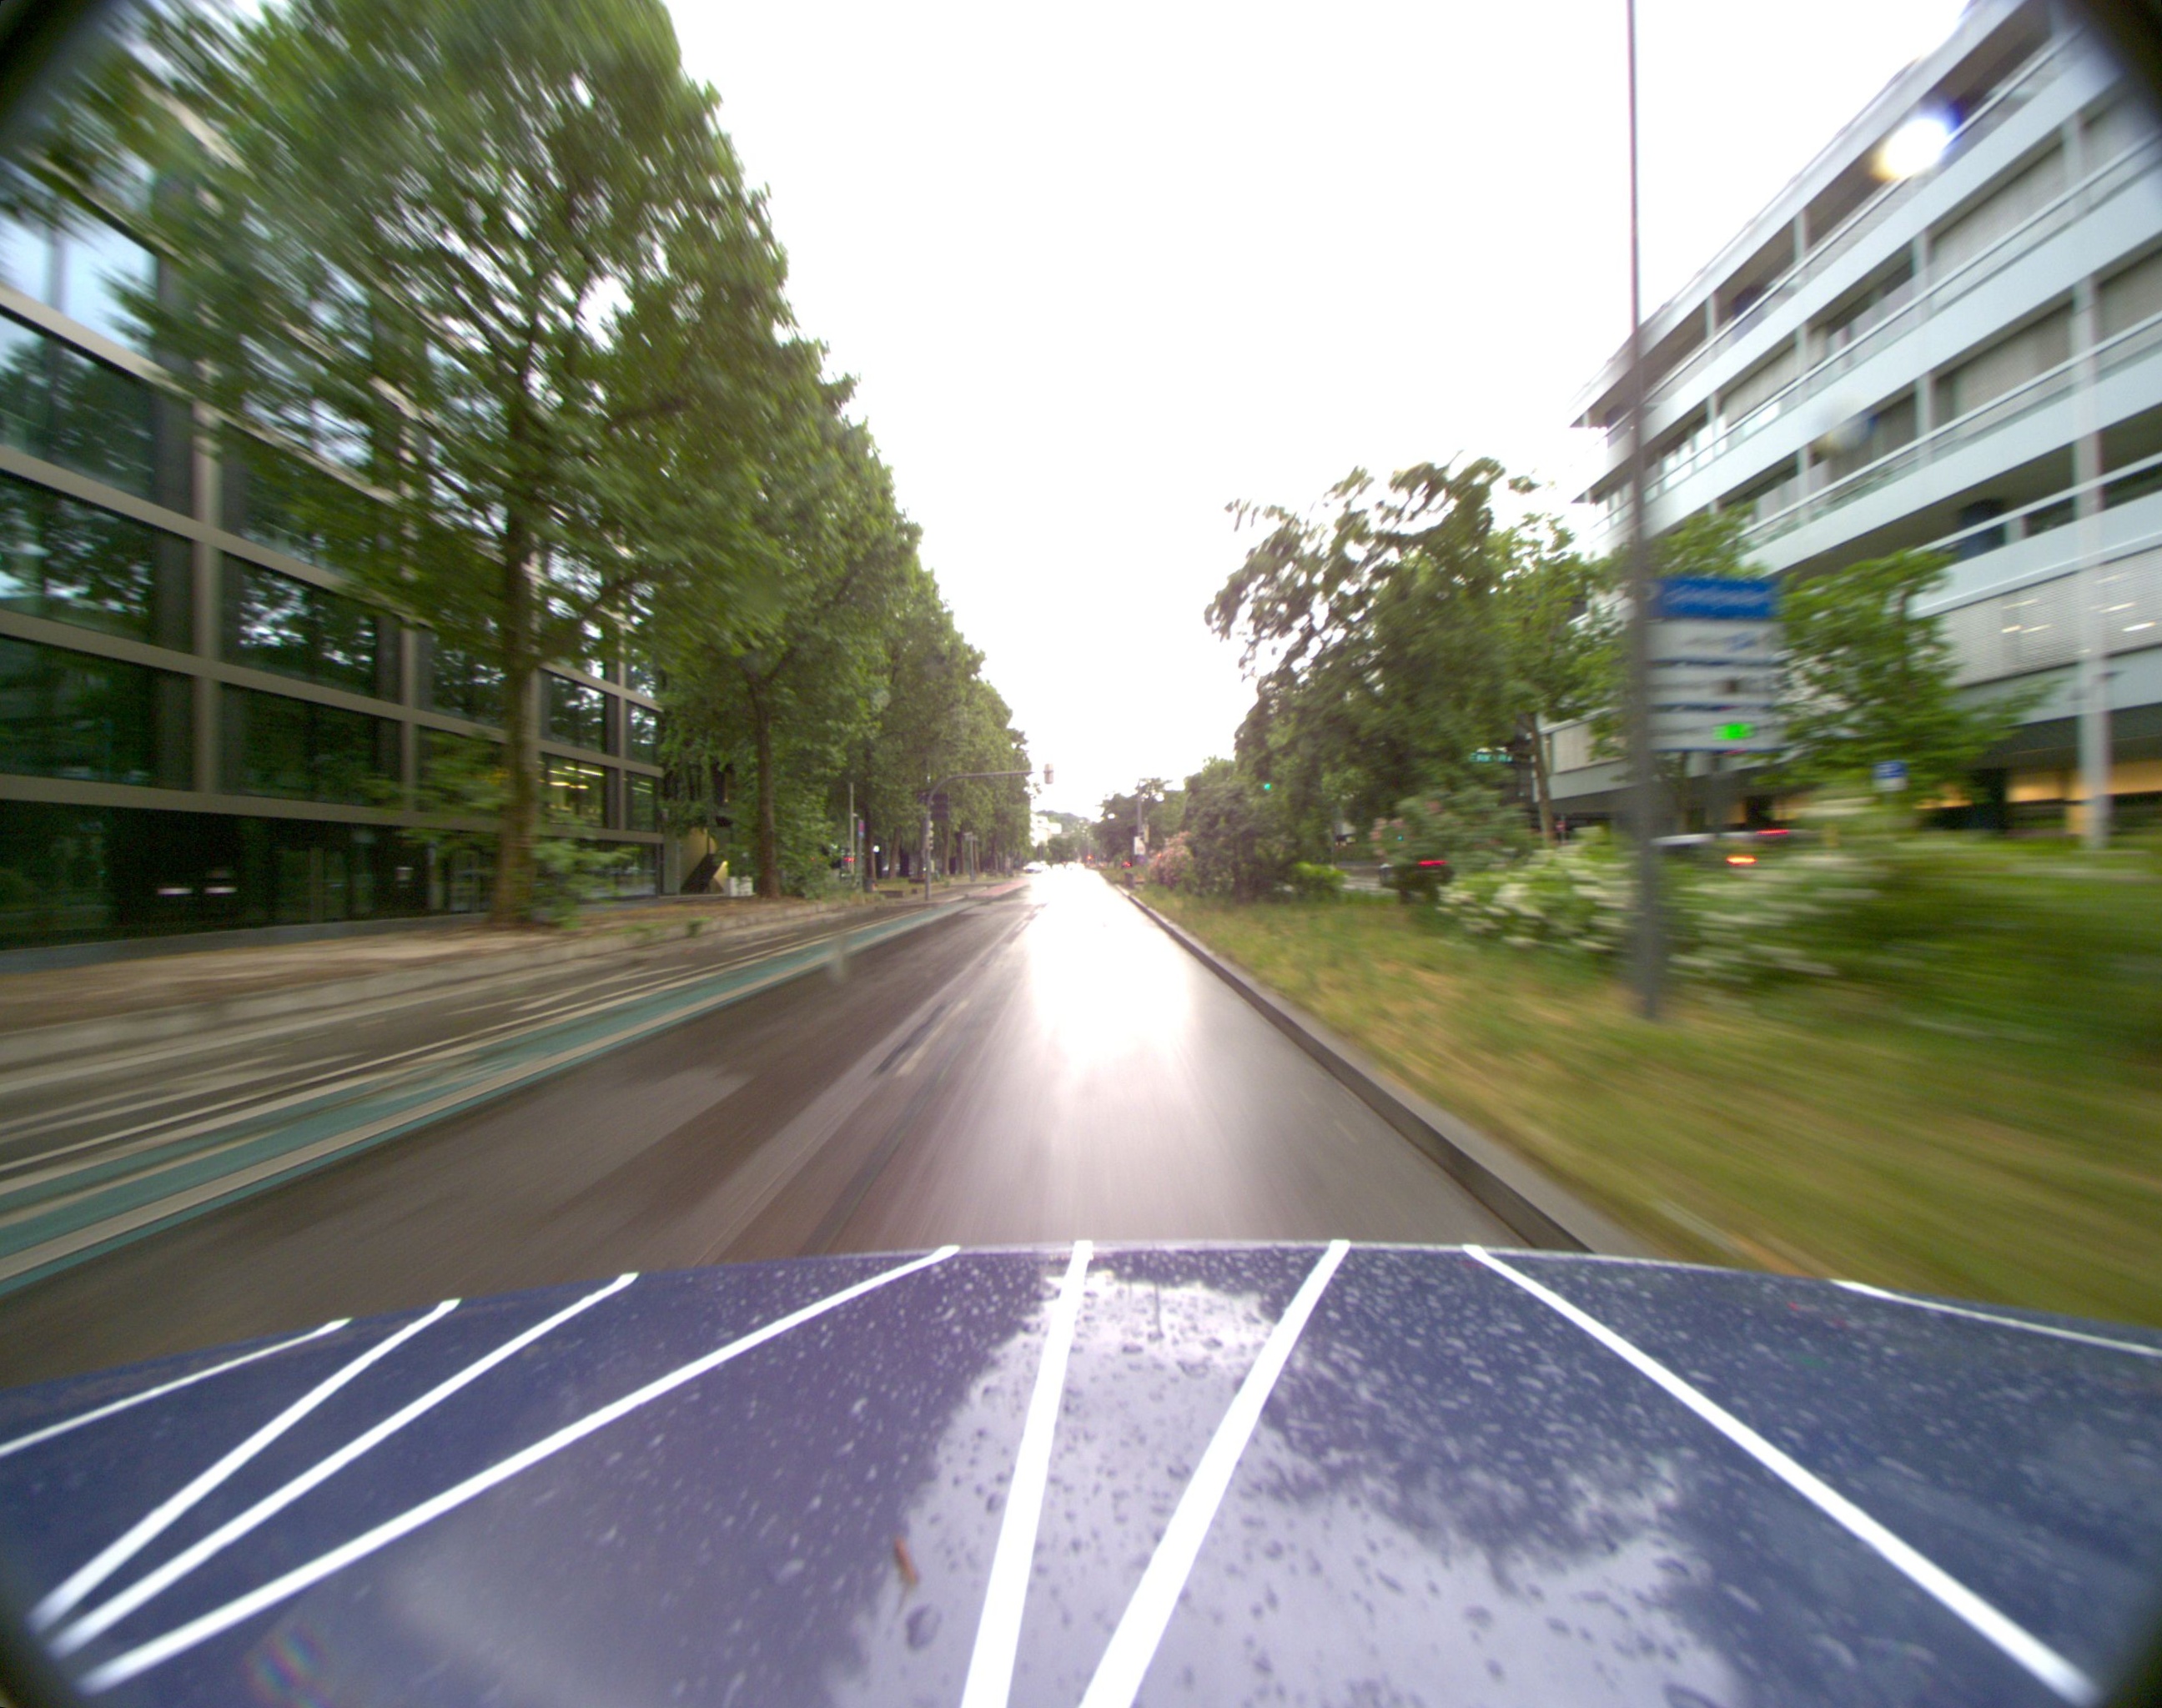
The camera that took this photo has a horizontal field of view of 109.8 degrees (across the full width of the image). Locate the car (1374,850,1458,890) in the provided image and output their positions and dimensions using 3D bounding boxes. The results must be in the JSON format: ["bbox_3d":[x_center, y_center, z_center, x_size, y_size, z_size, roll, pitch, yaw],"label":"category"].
[{"bbox_3d":[14.797,0.653,33.852,1.914,1.575,4.747,-3,1,4],"label":"car"}]

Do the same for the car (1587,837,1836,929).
[{"bbox_3d":[14.138,0.601,17.513,1.918,1.746,4.676,-3,0,2],"label":"car"}]

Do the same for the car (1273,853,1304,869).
[{"bbox_3d":[20.024,0.671,73.450,1.875,1.377,4.537,-3,1,3],"label":"car"}]

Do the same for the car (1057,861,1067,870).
[{"bbox_3d":[-3.816,2.345,154.663,1.780,1.546,3.929,-3,1,0],"label":"car"}]

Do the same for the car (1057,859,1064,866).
[{"bbox_3d":[-4.904,2.075,179.818,1.557,1.534,3.663,-3,1,0],"label":"car"}]

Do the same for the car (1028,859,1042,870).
[{"bbox_3d":[-7.442,1.707,123.701,1.932,1.726,4.598,-3,1,-1],"label":"car"}]

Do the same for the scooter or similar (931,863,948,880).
[{"bbox_3d":[-11.586,1.422,62.106,1.187,1.274,0.535,-3,1,-40],"label":"scooter or similar"}]
